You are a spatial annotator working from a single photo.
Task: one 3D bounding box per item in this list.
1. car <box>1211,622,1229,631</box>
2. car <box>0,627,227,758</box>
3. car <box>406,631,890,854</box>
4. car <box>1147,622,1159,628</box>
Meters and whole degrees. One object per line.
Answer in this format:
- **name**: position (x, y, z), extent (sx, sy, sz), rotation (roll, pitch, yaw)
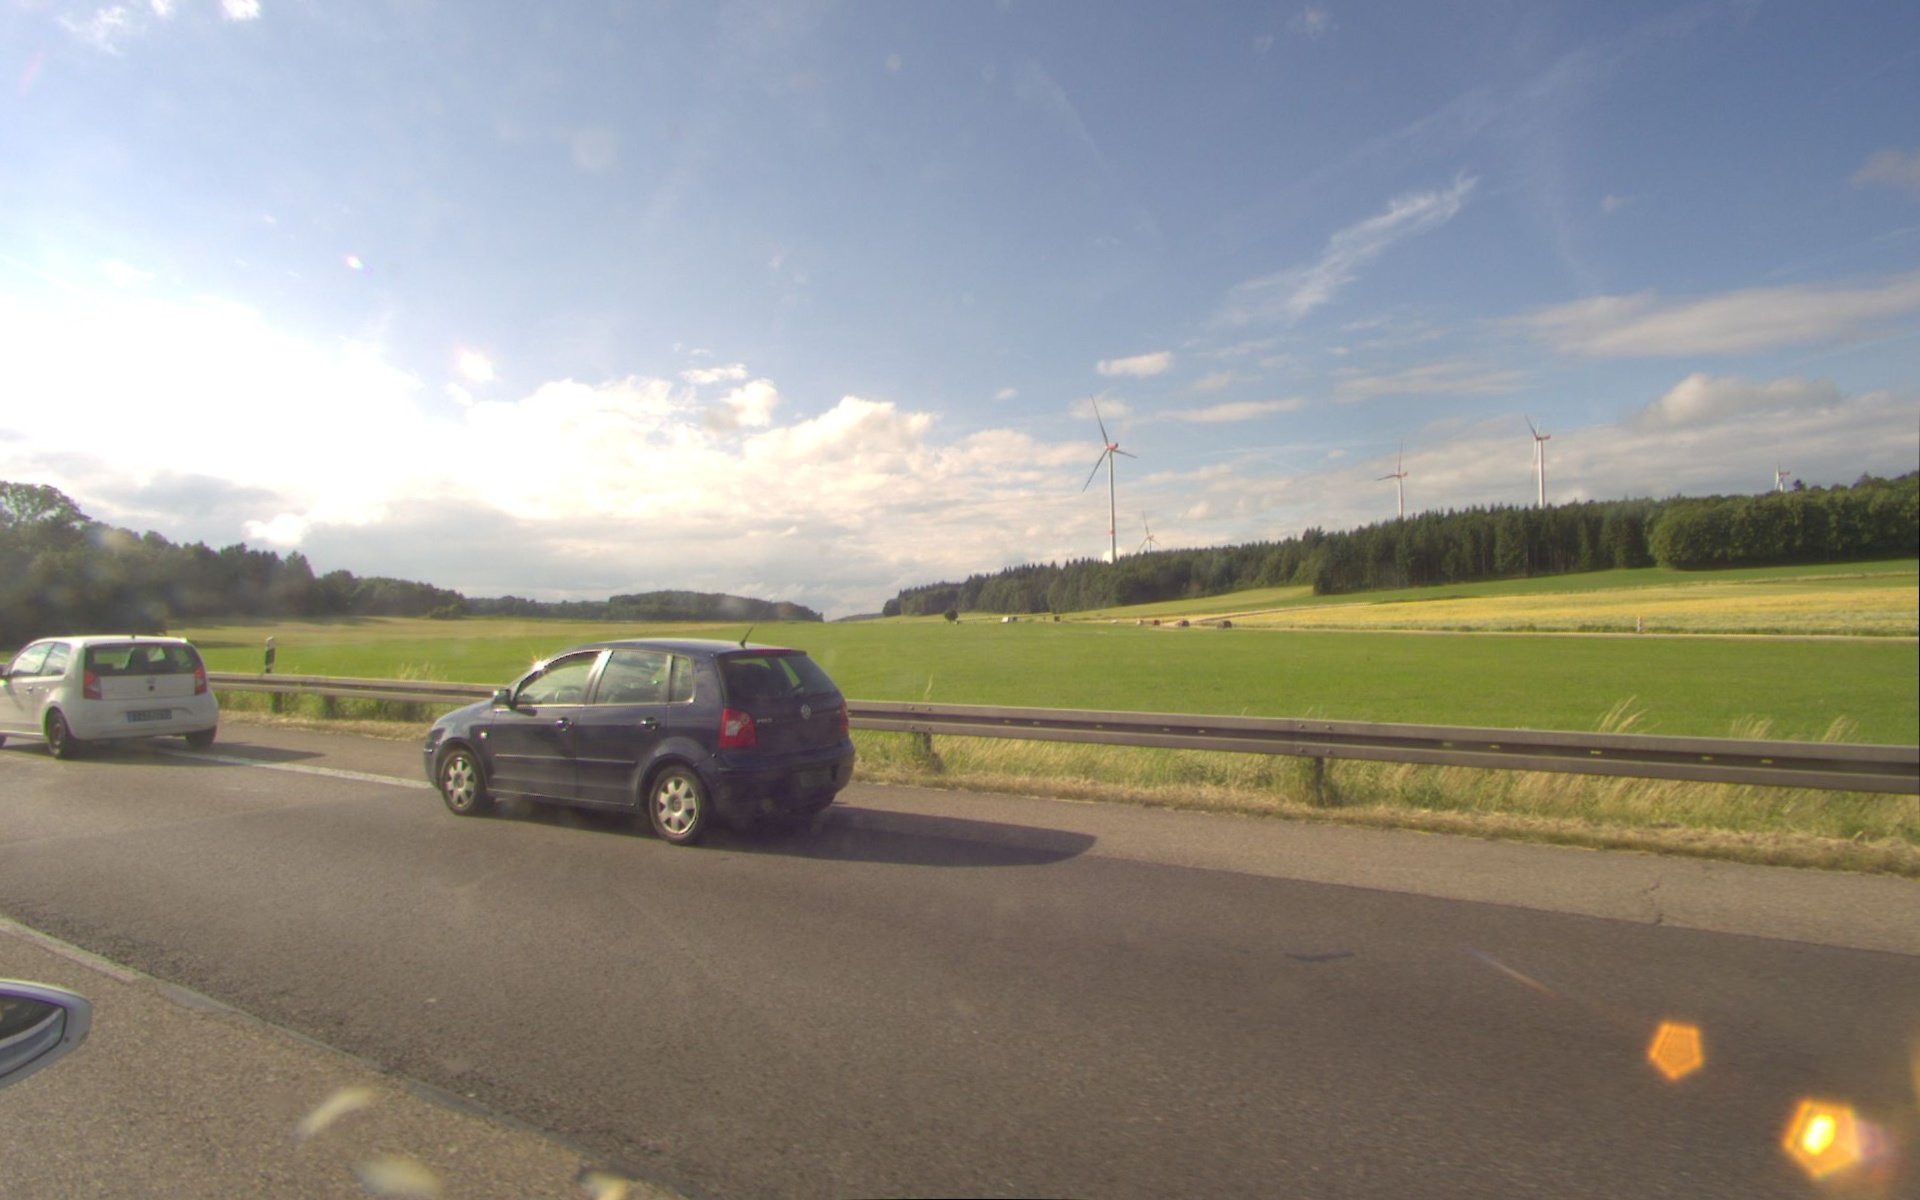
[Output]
- **car**: position (46.840, 4.848, 180.720), extent (1.803, 1.505, 4.221), rotation (0, -2, -6)
- **car**: position (-11.426, 1.130, 13.262), extent (3.327, 1.514, 1.547), rotation (0, -1, 30)
- **car**: position (-2.594, 1.004, 8.221), extent (3.717, 1.464, 1.709), rotation (-1, -2, 29)
- **car**: position (49.480, 6.384, 256.457), extent (1.803, 1.505, 4.221), rotation (0, -2, -6)
